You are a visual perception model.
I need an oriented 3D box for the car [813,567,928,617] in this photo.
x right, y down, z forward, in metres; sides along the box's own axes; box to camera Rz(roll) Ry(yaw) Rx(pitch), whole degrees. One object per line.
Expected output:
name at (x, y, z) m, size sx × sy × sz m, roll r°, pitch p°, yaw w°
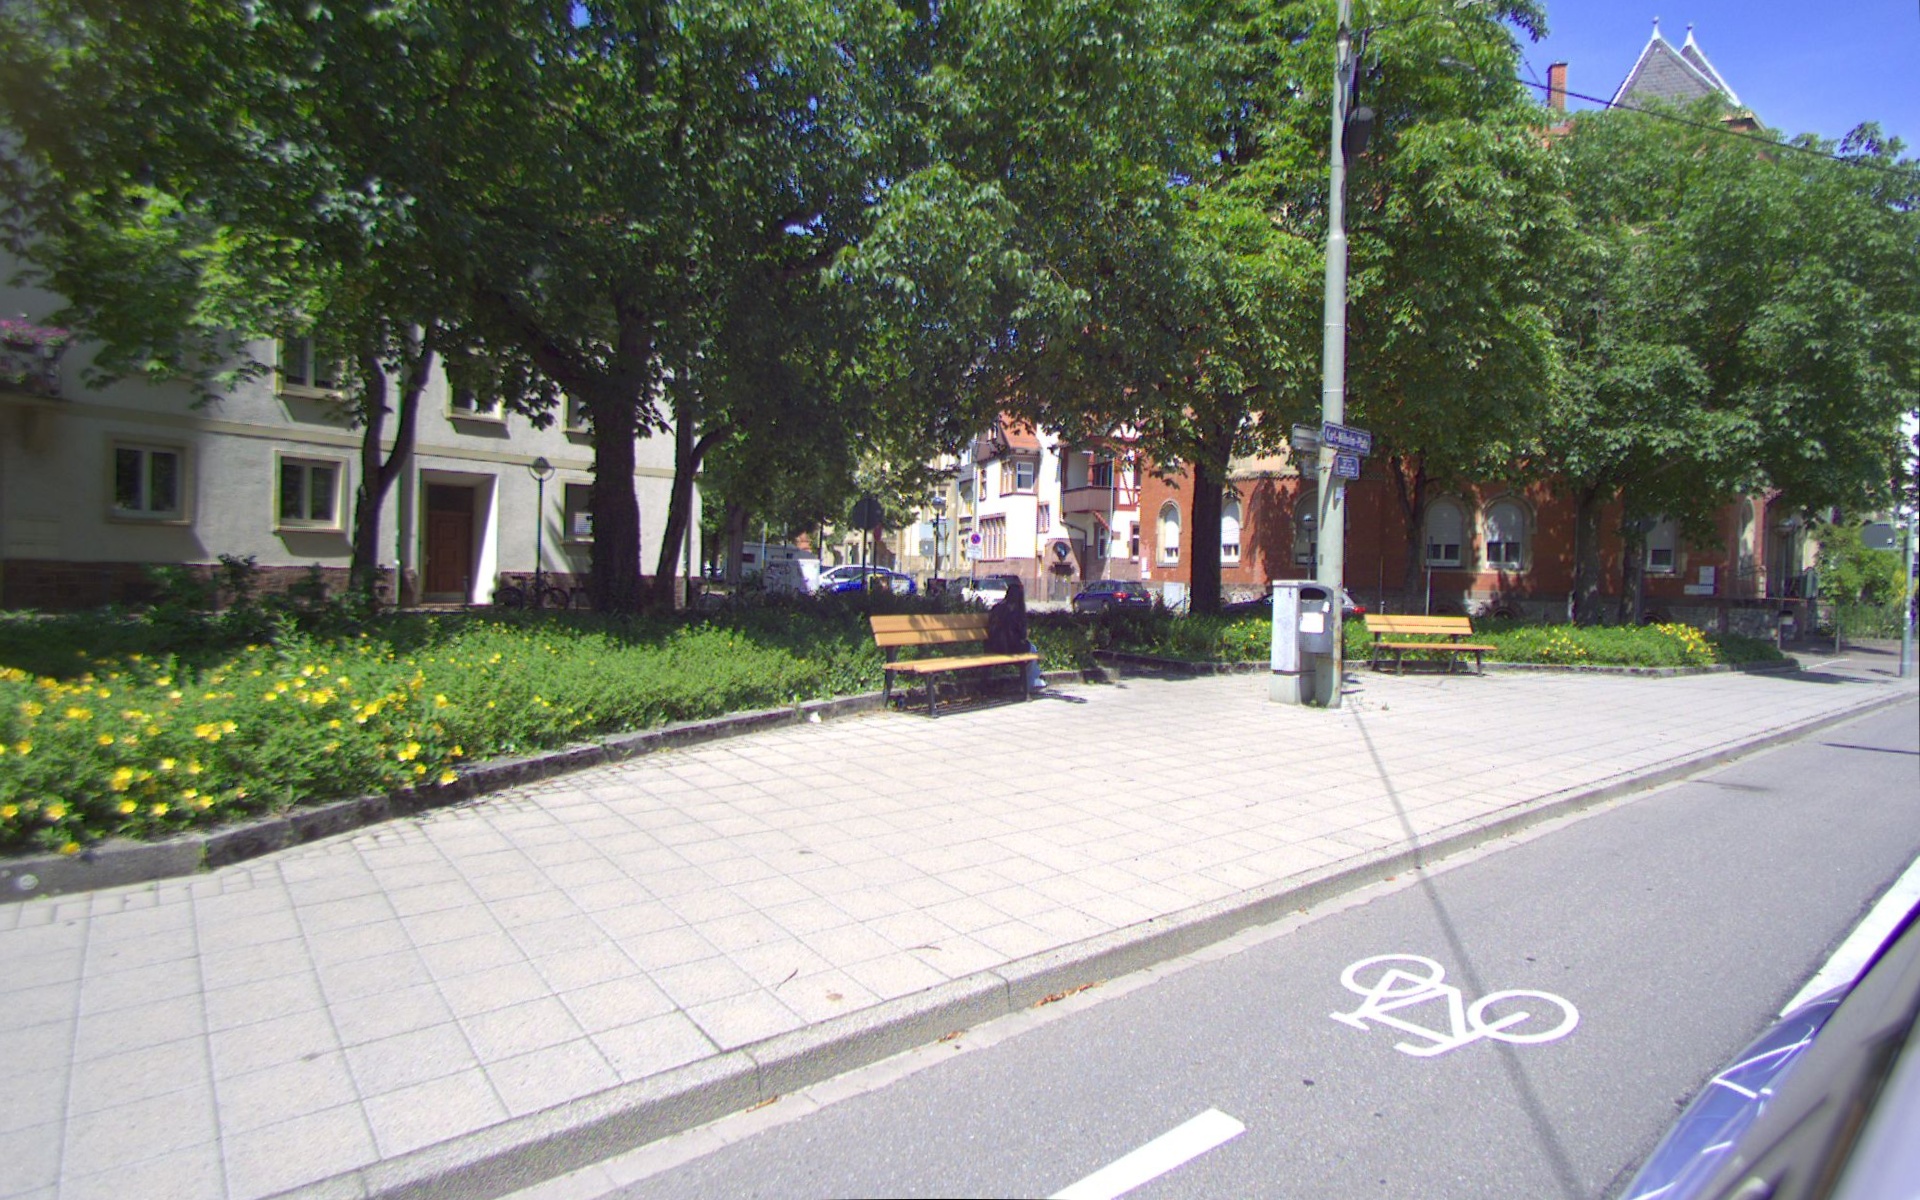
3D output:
car at (-3.550, -0.326, 40.018) m, size 4.219 × 1.903 × 1.942 m, roll 0°, pitch 0°, yaw -18°

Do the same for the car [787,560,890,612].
car at (-5.378, -0.633, 44.831) m, size 4.219 × 2.219 × 1.942 m, roll 0°, pitch 0°, yaw -18°

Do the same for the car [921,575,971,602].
car at (-0.925, -0.695, 63.255) m, size 1.897 × 1.638 × 4.318 m, roll 0°, pitch 0°, yaw -19°

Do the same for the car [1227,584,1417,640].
car at (10.505, 0.316, 29.478) m, size 4.989 × 1.501 × 1.919 m, roll 0°, pitch 0°, yaw 29°

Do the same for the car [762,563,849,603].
car at (-8.091, -0.888, 52.940) m, size 4.219 × 2.029 × 1.942 m, roll 0°, pitch 0°, yaw -18°

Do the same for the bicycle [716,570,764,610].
bicycle at (-5.873, -0.272, 26.906) m, size 0.736 × 1.024 × 2.273 m, roll 0°, pitch 0°, yaw -26°

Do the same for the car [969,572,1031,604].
car at (2.060, -0.623, 54.078) m, size 1.897 × 1.638 × 4.318 m, roll 0°, pitch 0°, yaw -19°

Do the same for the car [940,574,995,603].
car at (0.373, -0.658, 58.685) m, size 1.897 × 1.638 × 4.318 m, roll 0°, pitch 0°, yaw -19°

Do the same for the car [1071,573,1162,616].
car at (6.269, -0.234, 41.029) m, size 1.897 × 1.638 × 4.318 m, roll 0°, pitch 0°, yaw -19°

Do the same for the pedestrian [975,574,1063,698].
pedestrian at (0.594, 0.335, 10.077) m, size 0.562 × 1.156 × 0.718 m, roll 3°, pitch 2°, yaw 33°

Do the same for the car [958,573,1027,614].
car at (1.245, -0.281, 40.565) m, size 1.669 × 1.525 × 3.660 m, roll 2°, pitch 1°, yaw -16°

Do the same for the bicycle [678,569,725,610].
bicycle at (-6.780, -0.263, 26.477) m, size 0.736 × 1.024 × 2.273 m, roll 0°, pitch 0°, yaw -26°

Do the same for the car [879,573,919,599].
car at (-4.510, -1.012, 74.464) m, size 1.897 × 1.897 × 4.318 m, roll 0°, pitch 0°, yaw -19°

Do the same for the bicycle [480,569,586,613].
bicycle at (-10.258, -0.226, 24.377) m, size 2.230 × 1.024 × 0.751 m, roll -1°, pitch 0°, yaw -41°
